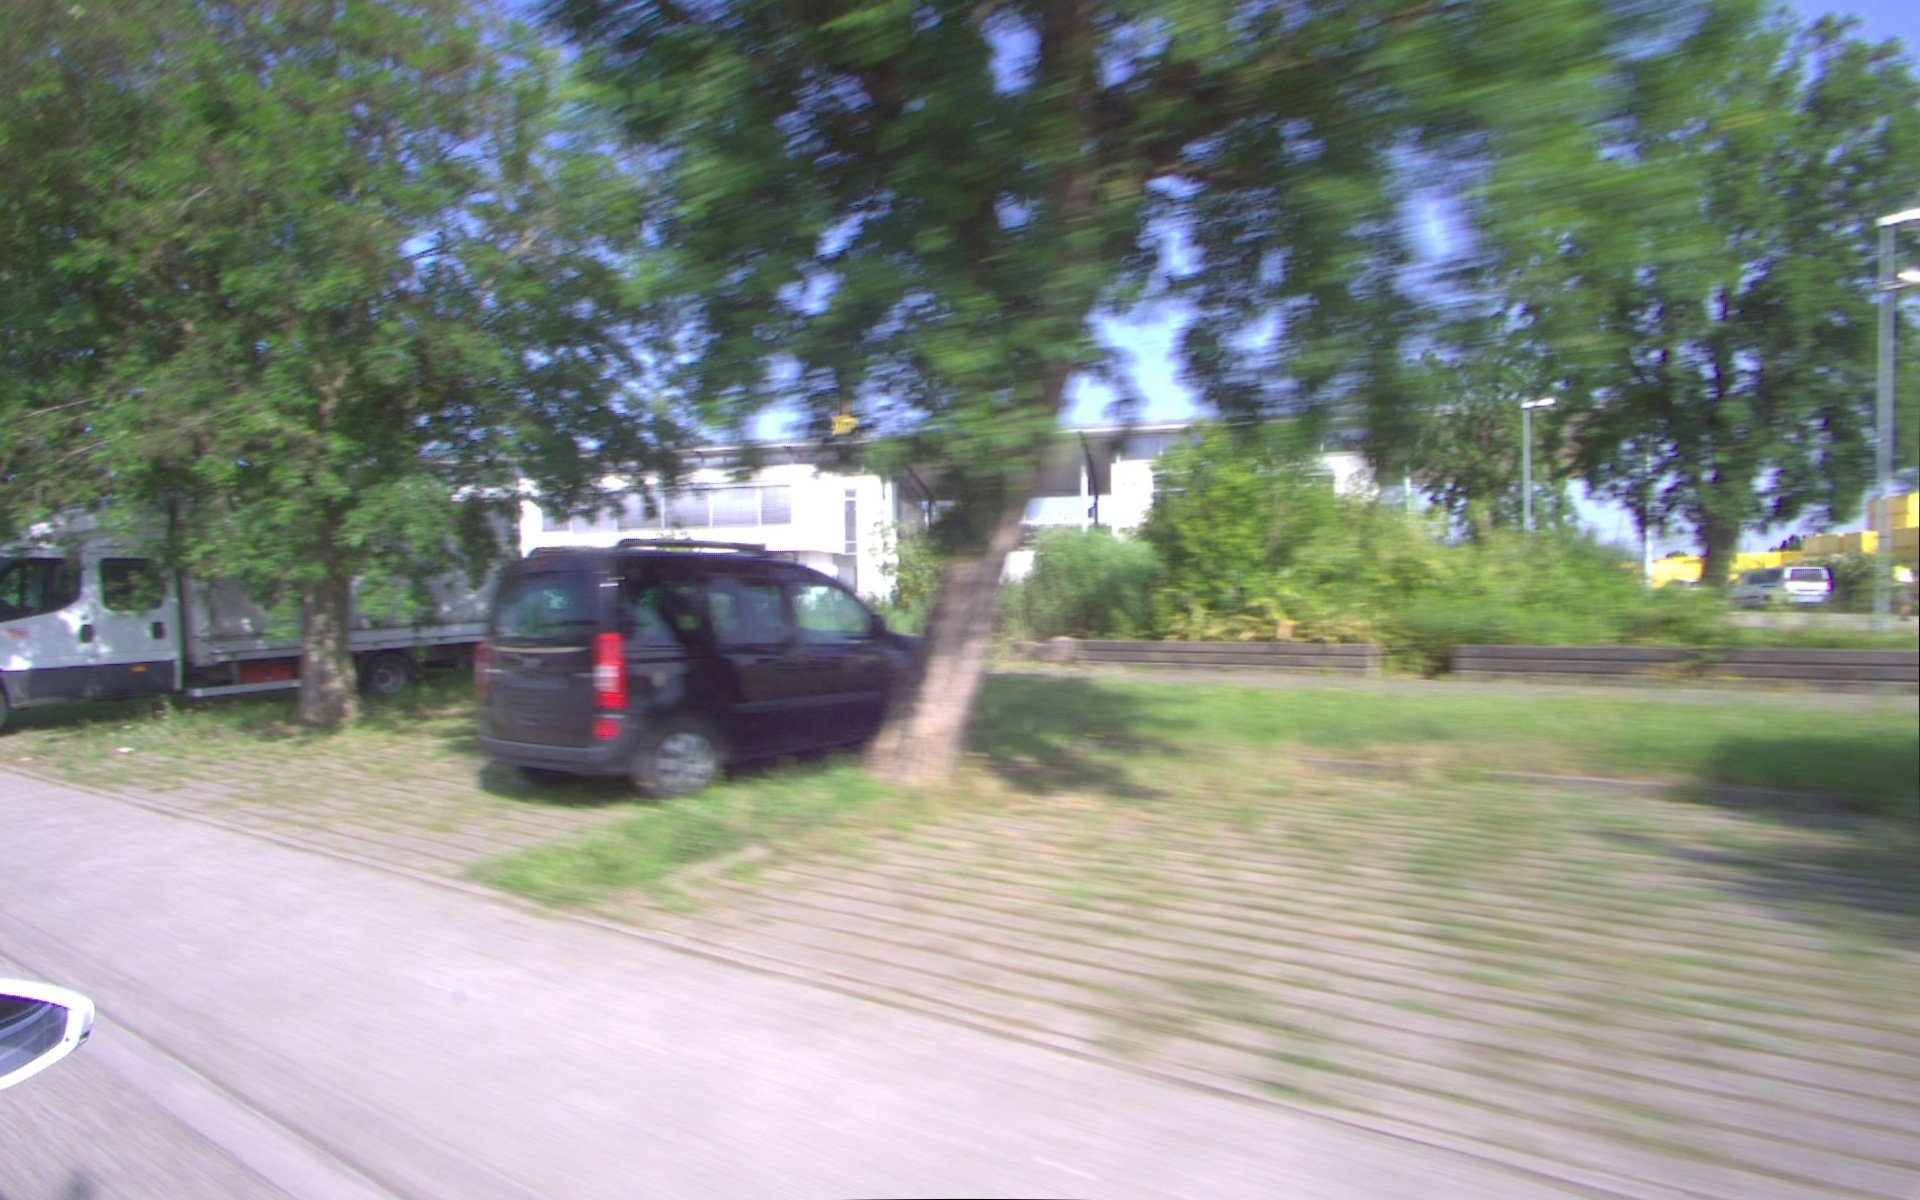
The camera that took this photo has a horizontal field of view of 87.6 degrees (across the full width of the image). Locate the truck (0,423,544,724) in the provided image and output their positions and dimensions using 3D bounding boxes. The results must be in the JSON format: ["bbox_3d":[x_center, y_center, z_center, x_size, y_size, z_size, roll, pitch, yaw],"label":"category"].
[{"bbox_3d":[-10.540,-0.323,14.497,2.703,3.415,8.188,-1,0,32],"label":"truck"}]

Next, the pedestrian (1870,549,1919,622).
[{"bbox_3d":[27.272,-0.396,29.010,0.970,2.039,1.153,0,-2,-37],"label":"pedestrian"}]

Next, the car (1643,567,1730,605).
[{"bbox_3d":[33.079,-0.599,45.698,1.696,1.527,3.999,-1,-2,12],"label":"car"}]

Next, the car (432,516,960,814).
[{"bbox_3d":[-1.947,0.390,8.464,1.973,1.862,3.975,0,1,35],"label":"car"}]
